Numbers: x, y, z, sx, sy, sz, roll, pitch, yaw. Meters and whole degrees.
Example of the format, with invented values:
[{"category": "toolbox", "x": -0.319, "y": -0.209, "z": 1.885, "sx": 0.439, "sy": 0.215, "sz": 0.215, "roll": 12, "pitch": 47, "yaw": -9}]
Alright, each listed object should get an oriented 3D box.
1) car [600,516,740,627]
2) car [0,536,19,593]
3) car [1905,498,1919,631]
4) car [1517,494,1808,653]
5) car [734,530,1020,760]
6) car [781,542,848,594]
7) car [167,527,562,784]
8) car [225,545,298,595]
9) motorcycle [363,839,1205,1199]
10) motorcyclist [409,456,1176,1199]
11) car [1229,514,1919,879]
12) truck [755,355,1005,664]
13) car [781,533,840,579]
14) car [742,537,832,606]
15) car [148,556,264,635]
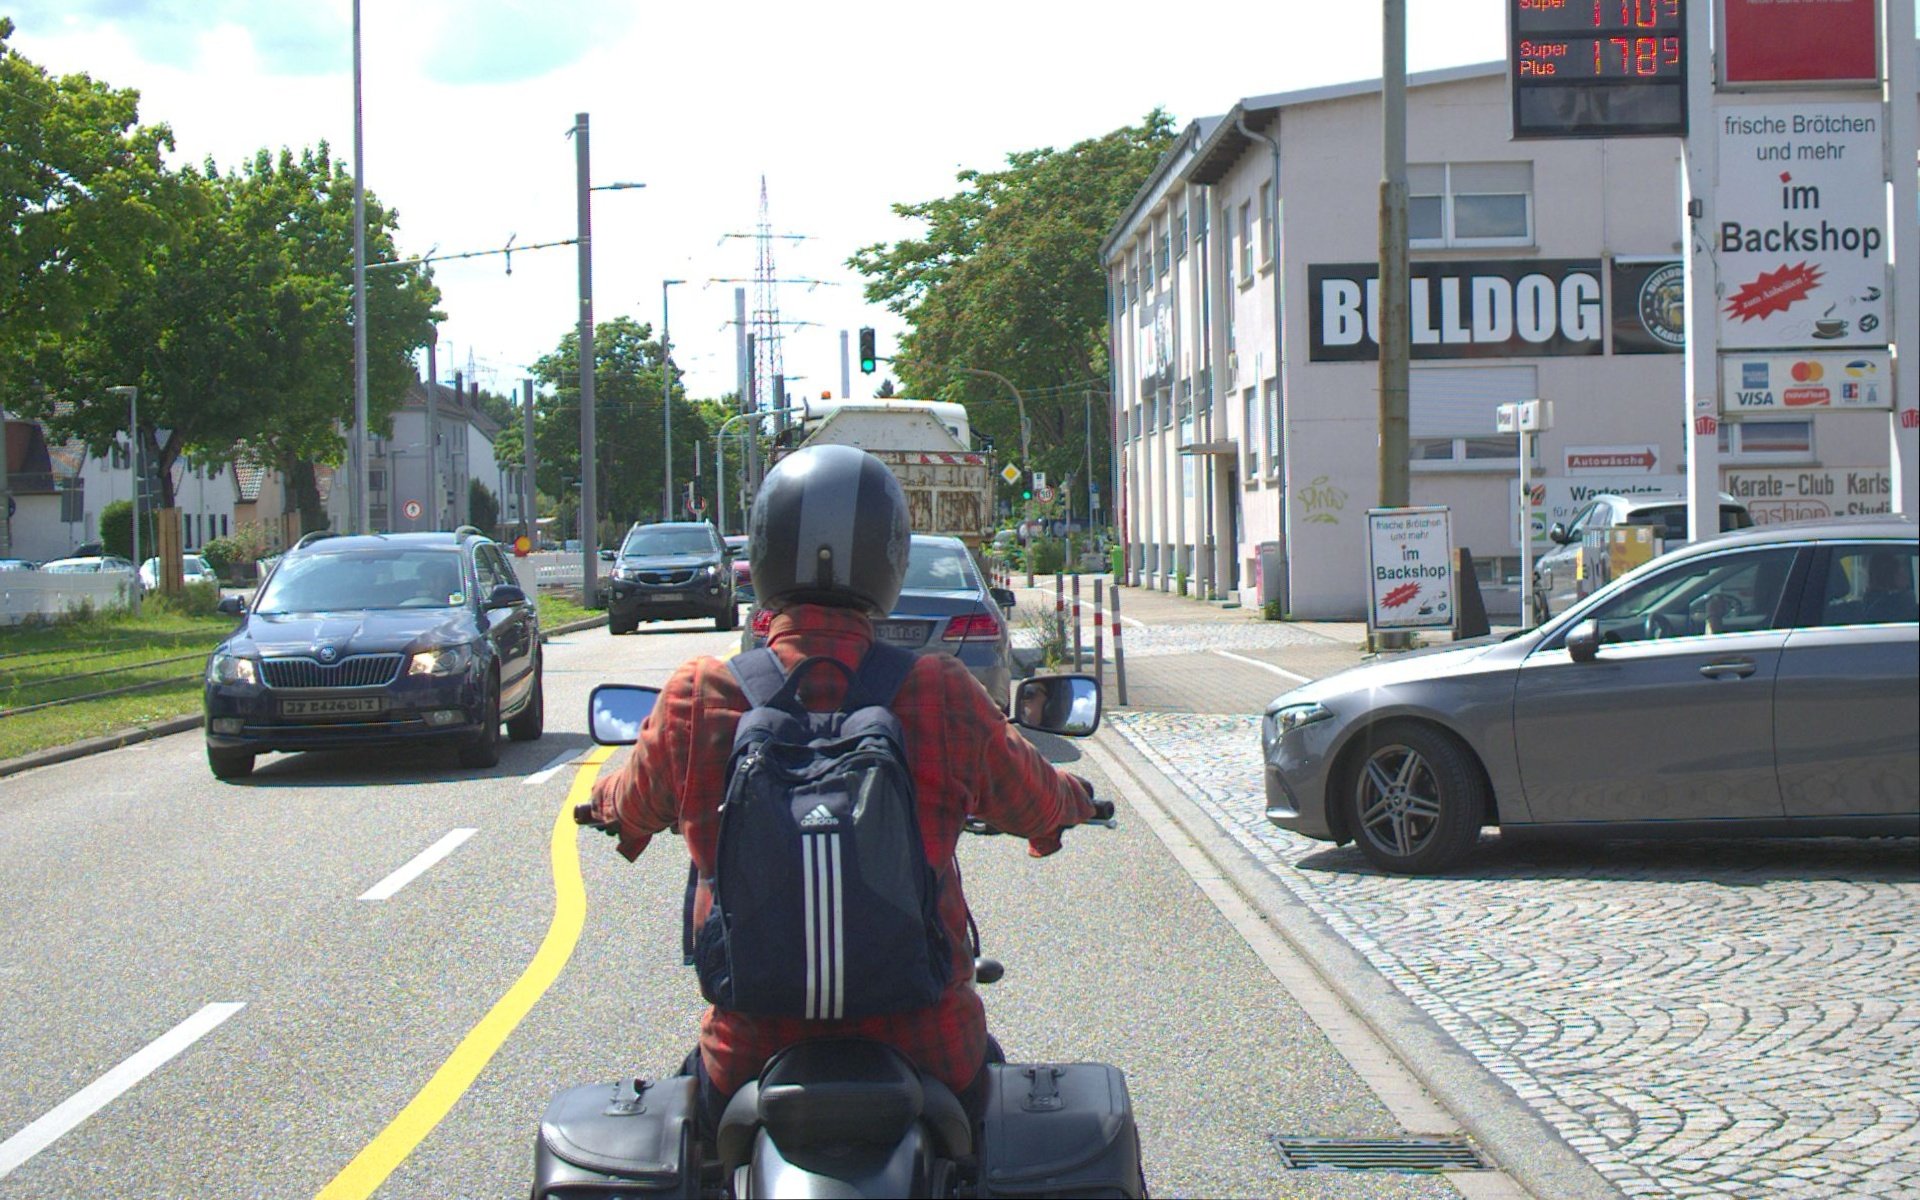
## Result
[{"category": "car", "x": -4.503, "y": -0.481, "z": 53.888, "sx": 1.823, "sy": 1.596, "sz": 4.324, "roll": -2, "pitch": 1, "yaw": -1}, {"category": "car", "x": -30.045, "y": -1.066, "z": 104.413, "sx": 1.776, "sy": 1.717, "sz": 4.128, "roll": -1, "pitch": 1, "yaw": 0}, {"category": "car", "x": 11.733, "y": -0.385, "z": 37.099, "sx": 1.806, "sy": 1.498, "sz": 3.834, "roll": -1, "pitch": 1, "yaw": -3}, {"category": "car", "x": 7.378, "y": -0.310, "z": 36.529, "sx": 1.667, "sy": 1.557, "sz": 4.245, "roll": -1, "pitch": 1, "yaw": -8}, {"category": "car", "x": -0.558, "y": 0.250, "z": 24.190, "sx": 1.823, "sy": 1.447, "sz": 4.000, "roll": 1, "pitch": 1, "yaw": -1}, {"category": "car", "x": -4.371, "y": -0.972, "z": 103.792, "sx": 1.823, "sy": 1.447, "sz": 4.324, "roll": -2, "pitch": 1, "yaw": -1}, {"category": "car", "x": -3.766, "y": 0.280, "z": 22.457, "sx": 1.823, "sy": 1.447, "sz": 4.324, "roll": -2, "pitch": 1, "yaw": -1}, {"category": "car", "x": -25.420, "y": -1.104, "z": 125.250, "sx": 1.776, "sy": 1.717, "sz": 4.128, "roll": -1, "pitch": 1, "yaw": 0}, {"category": "motorcycle", "x": -0.212, "y": 0.952, "z": 5.347, "sx": 0.979, "sy": 0.894, "sz": 2.653, "roll": -1, "pitch": 1, "yaw": -1}, {"category": "motorcyclist", "x": -0.216, "y": 0.609, "z": 5.036, "sx": 0.979, "sy": 1.597, "sz": 1.088, "roll": -1, "pitch": 1, "yaw": -1}, {"category": "car", "x": 3.443, "y": 0.360, "z": 14.430, "sx": 4.279, "sy": 1.410, "sz": 1.671, "roll": -1, "pitch": 1, "yaw": 28}, {"category": "truck", "x": -0.908, "y": -1.070, "z": 41.201, "sx": 2.638, "sy": 3.285, "sz": 8.057, "roll": -1, "pitch": 1, "yaw": -1}, {"category": "car", "x": -5.066, "y": -1.496, "z": 116.834, "sx": 1.823, "sy": 1.447, "sz": 4.324, "roll": -2, "pitch": 1, "yaw": -1}, {"category": "car", "x": -3.928, "y": -0.675, "z": 78.697, "sx": 1.823, "sy": 1.447, "sz": 4.324, "roll": -2, "pitch": 1, "yaw": -1}, {"category": "car", "x": -17.498, "y": -0.135, "z": 79.968, "sx": 1.776, "sy": 1.717, "sz": 4.128, "roll": -1, "pitch": 1, "yaw": 0}]
